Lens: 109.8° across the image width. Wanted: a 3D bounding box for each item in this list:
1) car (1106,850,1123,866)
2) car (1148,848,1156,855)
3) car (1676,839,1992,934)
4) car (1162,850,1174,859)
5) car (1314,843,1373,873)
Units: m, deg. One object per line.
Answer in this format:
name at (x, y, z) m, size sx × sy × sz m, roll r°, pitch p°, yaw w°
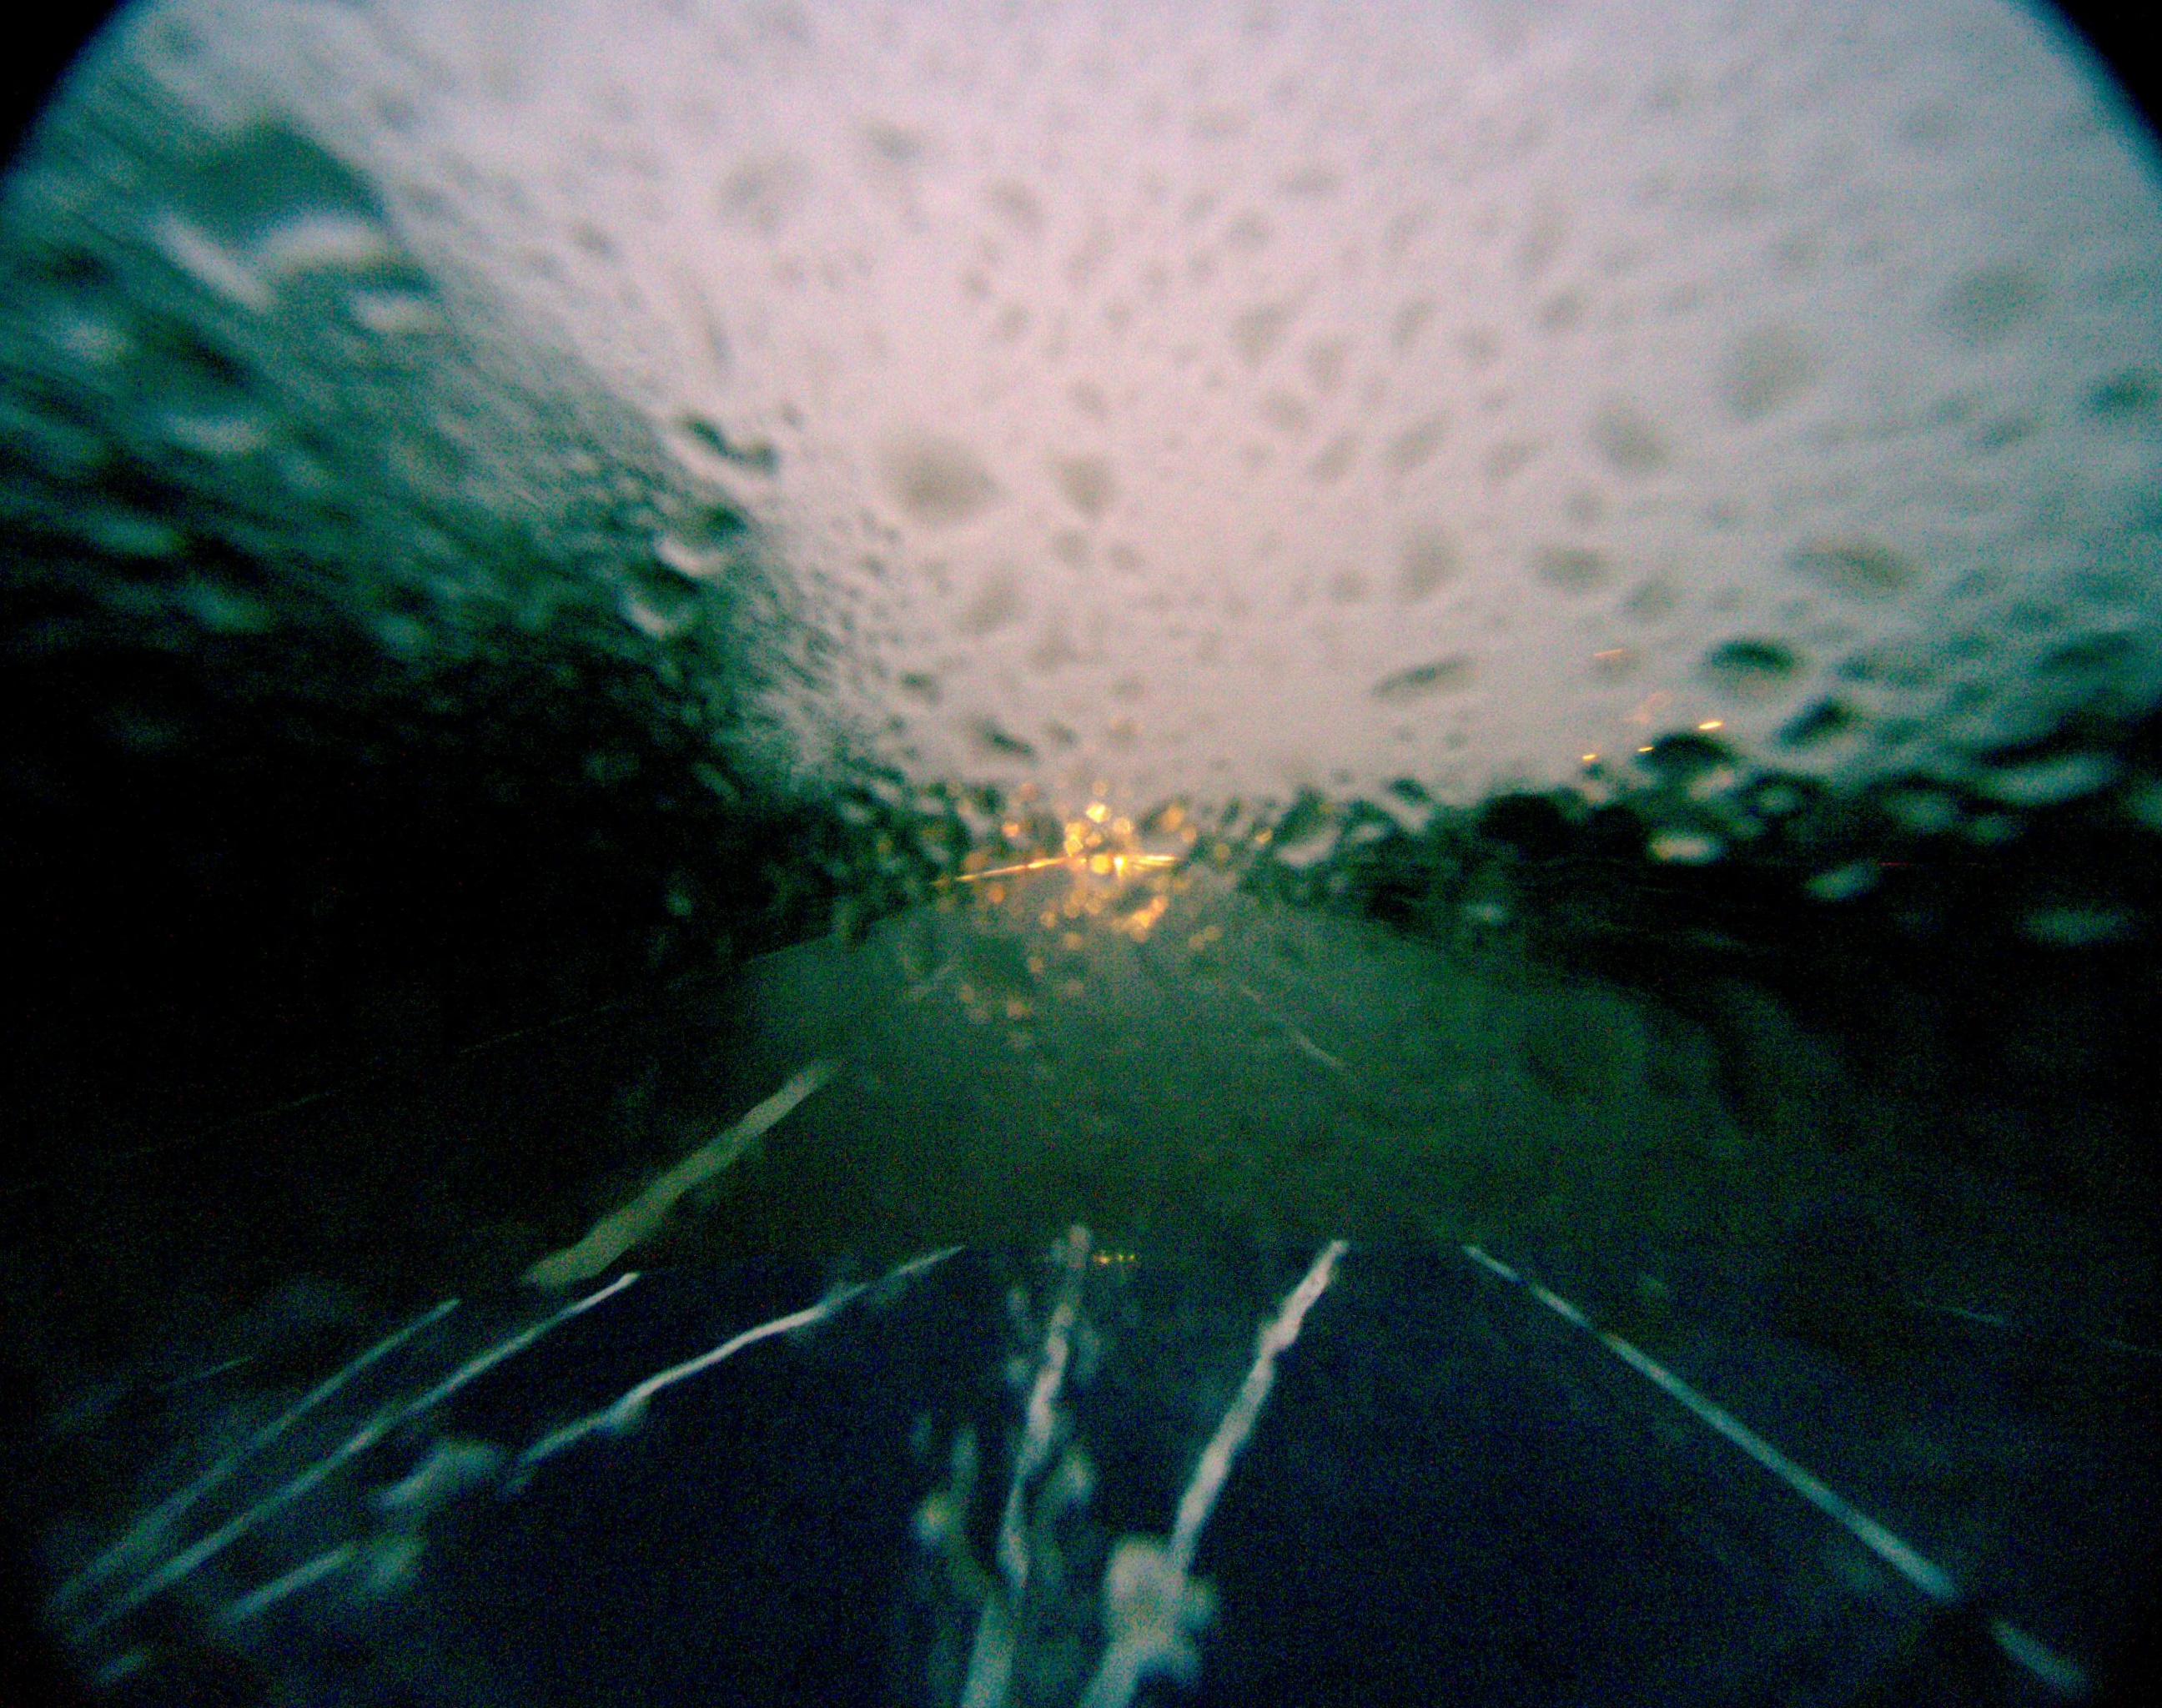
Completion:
car at (4.645, 0.531, 105.979) m, size 1.999 × 2.002 × 3.999 m, roll -4°, pitch 0°, yaw -1°
car at (16.891, -0.613, 181.259) m, size 1.745 × 1.630 × 4.000 m, roll -1°, pitch 0°, yaw 1°
car at (13.739, 0.500, 14.323) m, size 1.707 × 1.466 × 4.365 m, roll -2°, pitch 1°, yaw 1°
car at (15.484, 0.091, 135.651) m, size 1.745 × 1.630 × 4.000 m, roll -1°, pitch 0°, yaw 1°
car at (13.886, 0.176, 40.493) m, size 1.707 × 1.466 × 4.365 m, roll -2°, pitch 1°, yaw 1°
